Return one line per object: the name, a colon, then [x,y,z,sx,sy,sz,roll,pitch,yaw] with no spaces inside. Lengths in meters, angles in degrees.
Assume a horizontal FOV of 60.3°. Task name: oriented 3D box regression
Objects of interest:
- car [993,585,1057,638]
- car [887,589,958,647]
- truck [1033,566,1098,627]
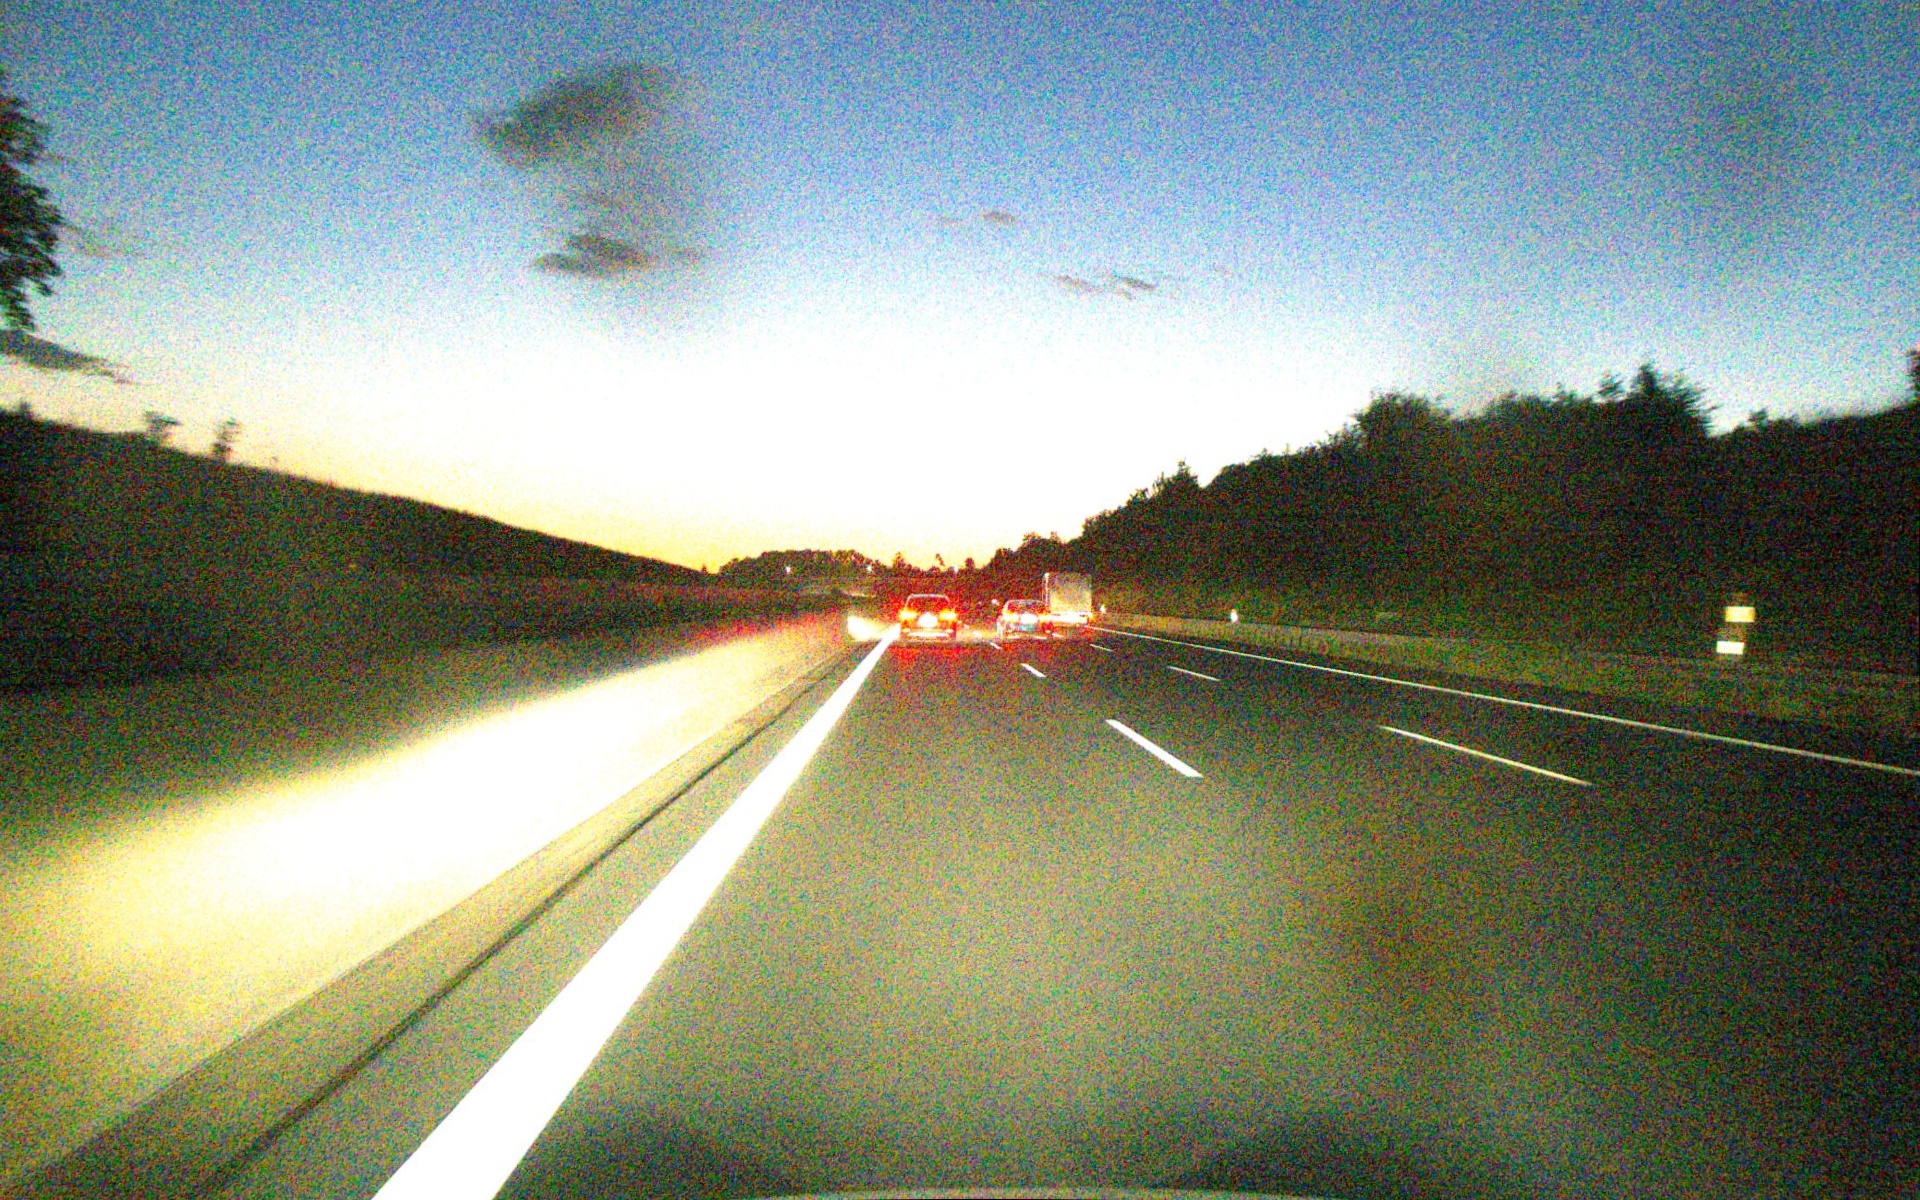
car: [2.259,0.410,58.218,1.873,1.760,3.997,1,0,-3]
car: [-1.195,0.536,50.849,2.064,1.646,4.202,2,0,-3]
truck: [5.779,-0.206,91.726,2.552,2.923,7.482,7,0,-2]
